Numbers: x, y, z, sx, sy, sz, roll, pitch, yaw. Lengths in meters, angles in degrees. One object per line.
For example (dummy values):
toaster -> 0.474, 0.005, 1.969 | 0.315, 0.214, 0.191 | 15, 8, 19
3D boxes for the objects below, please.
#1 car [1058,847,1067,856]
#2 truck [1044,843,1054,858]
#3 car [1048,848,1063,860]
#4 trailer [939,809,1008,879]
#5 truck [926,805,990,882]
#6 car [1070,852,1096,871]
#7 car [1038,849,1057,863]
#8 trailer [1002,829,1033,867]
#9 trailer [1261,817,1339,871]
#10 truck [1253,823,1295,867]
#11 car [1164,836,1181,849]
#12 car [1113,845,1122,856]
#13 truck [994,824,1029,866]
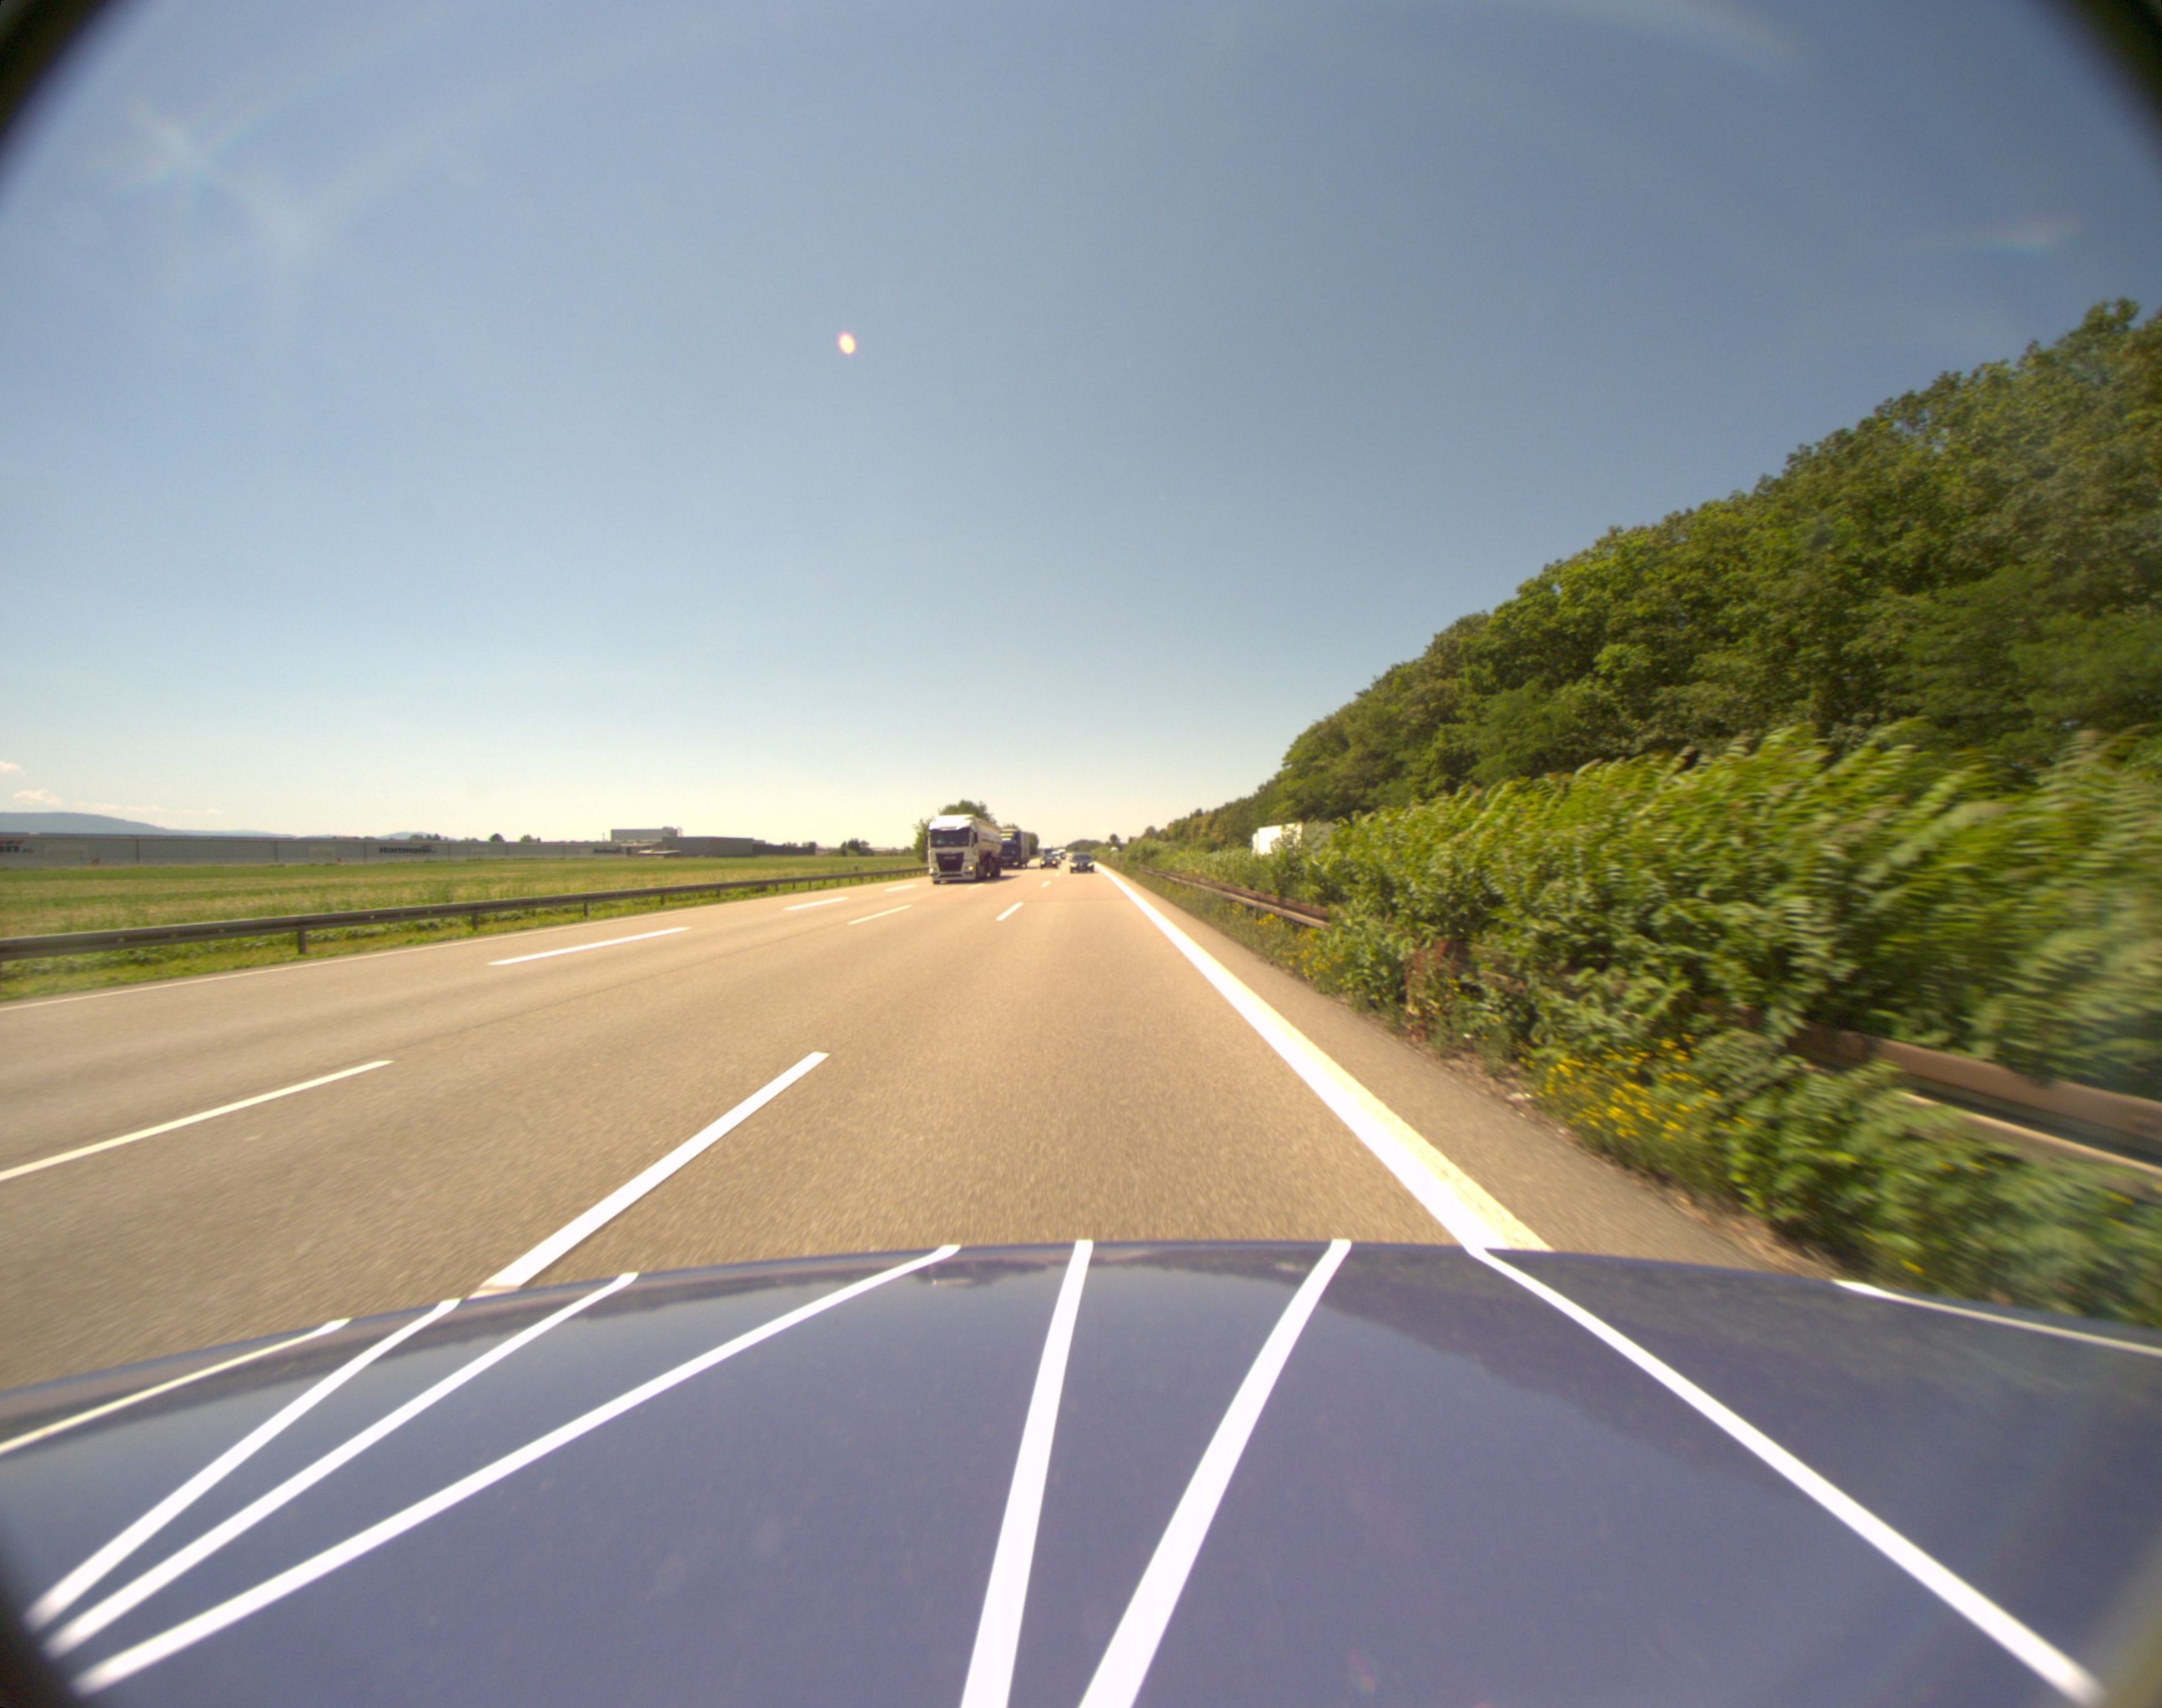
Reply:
car -> -4.052, -0.538, 167.593 | 1.999, 2.002, 3.999 | -1, 1, -1
truck -> -9.299, -0.949, 222.841 | 2.798, 4.180, 10.804 | -1, 0, -2
car -> -3.494, -0.037, 104.892 | 1.887, 1.634, 3.999 | -1, 0, -1
trailer -> -7.013, -0.626, 51.668 | 2.797, 4.180, 12.352 | -1, 0, 0
truck -> -7.034, -0.572, 44.075 | 2.797, 4.180, 4.999 | -1, 1, 0
car -> 0.115, 0.533, 58.633 | 1.887, 1.341, 4.466 | -1, 0, -2
car -> -3.418, 0.205, 77.528 | 1.841, 1.409, 4.496 | -1, 0, -2
trailer -> -7.422, -0.725, 90.137 | 2.797, 4.180, 10.805 | -1, 0, 0
trailer -> 17.844, -0.774, 63.053 | 2.841, 4.011, 12.913 | 1, 0, 1
truck -> 17.920, -0.821, 70.720 | 2.841, 4.011, 4.184 | 1, 1, 1
car -> 13.774, -1.710, 114.583 | 2.054, 2.002, 4.000 | -1, 1, 1
car -> 9.103, -0.893, 190.465 | 1.998, 2.809, 4.596 | -1, 1, 0
truck -> -7.368, -0.976, 81.876 | 2.797, 4.180, 10.805 | -1, 0, -1
